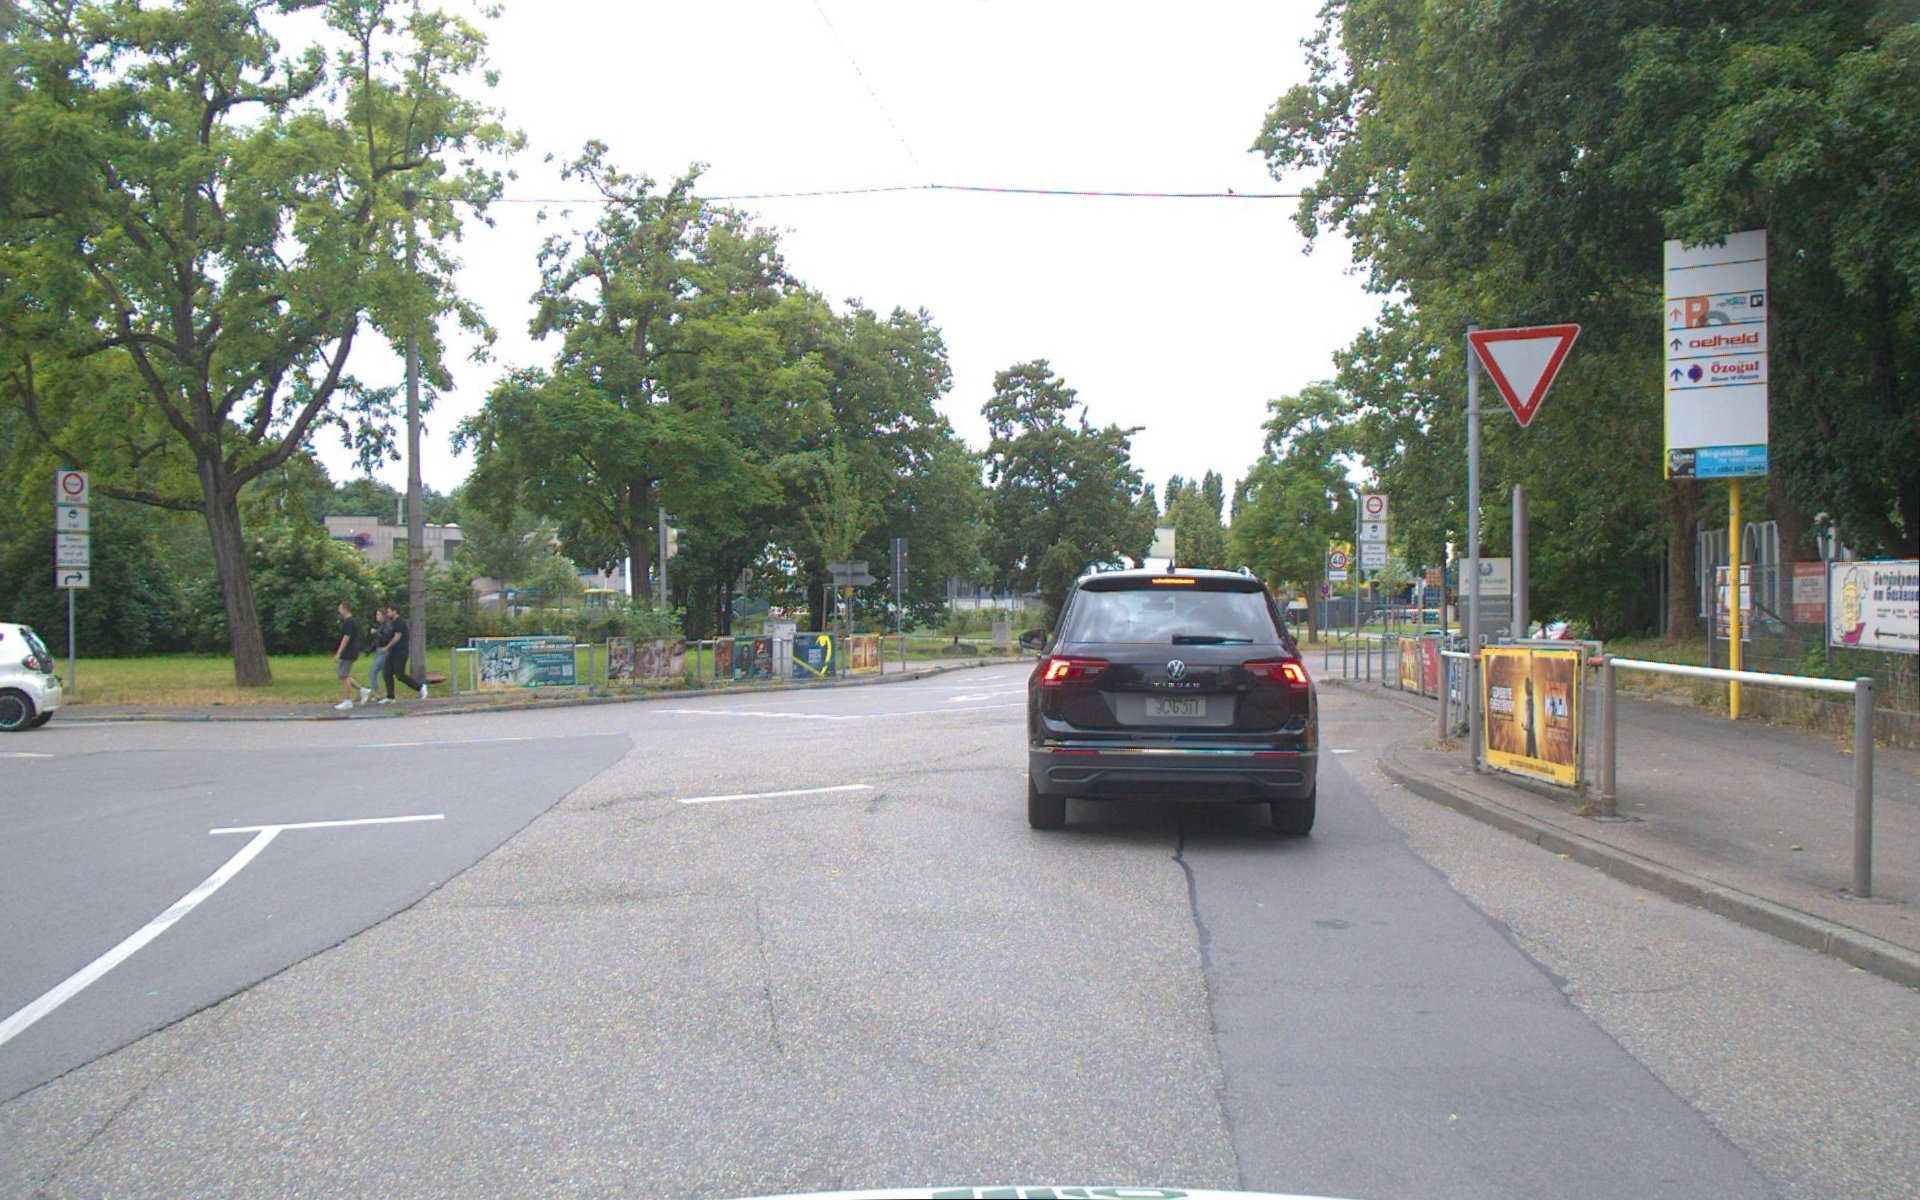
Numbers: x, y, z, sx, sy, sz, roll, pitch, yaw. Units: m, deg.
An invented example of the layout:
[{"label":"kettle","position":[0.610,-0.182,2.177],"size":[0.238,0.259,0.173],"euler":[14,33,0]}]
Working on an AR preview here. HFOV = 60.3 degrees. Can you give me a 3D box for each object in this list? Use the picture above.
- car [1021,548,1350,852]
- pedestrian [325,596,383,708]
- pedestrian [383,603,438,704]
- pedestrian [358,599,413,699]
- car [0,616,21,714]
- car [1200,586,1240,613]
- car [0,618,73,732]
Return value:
[{"label":"car","position":[1.364,0.546,11.290],"size":[1.805,1.664,4.187],"euler":[1,0,3]},{"label":"pedestrian","position":[-10.427,0.879,28.489],"size":[0.770,1.890,0.694],"euler":[-1,0,-6]},{"label":"pedestrian","position":[-9.707,0.932,29.223],"size":[0.770,1.744,0.694],"euler":[-1,0,-6]},{"label":"pedestrian","position":[-10.361,0.875,29.859],"size":[0.770,1.770,0.694],"euler":[-1,0,-6]},{"label":"car","position":[-16.268,1.006,24.882],"size":[3.348,1.482,1.644],"euler":[-1,-1,1]},{"label":"car","position":[20.237,-0.029,128.618],"size":[1.925,2.049,4.214],"euler":[0,0,26]},{"label":"car","position":[-13.777,1.000,21.856],"size":[3.368,1.457,1.635],"euler":[-1,0,-19]}]
